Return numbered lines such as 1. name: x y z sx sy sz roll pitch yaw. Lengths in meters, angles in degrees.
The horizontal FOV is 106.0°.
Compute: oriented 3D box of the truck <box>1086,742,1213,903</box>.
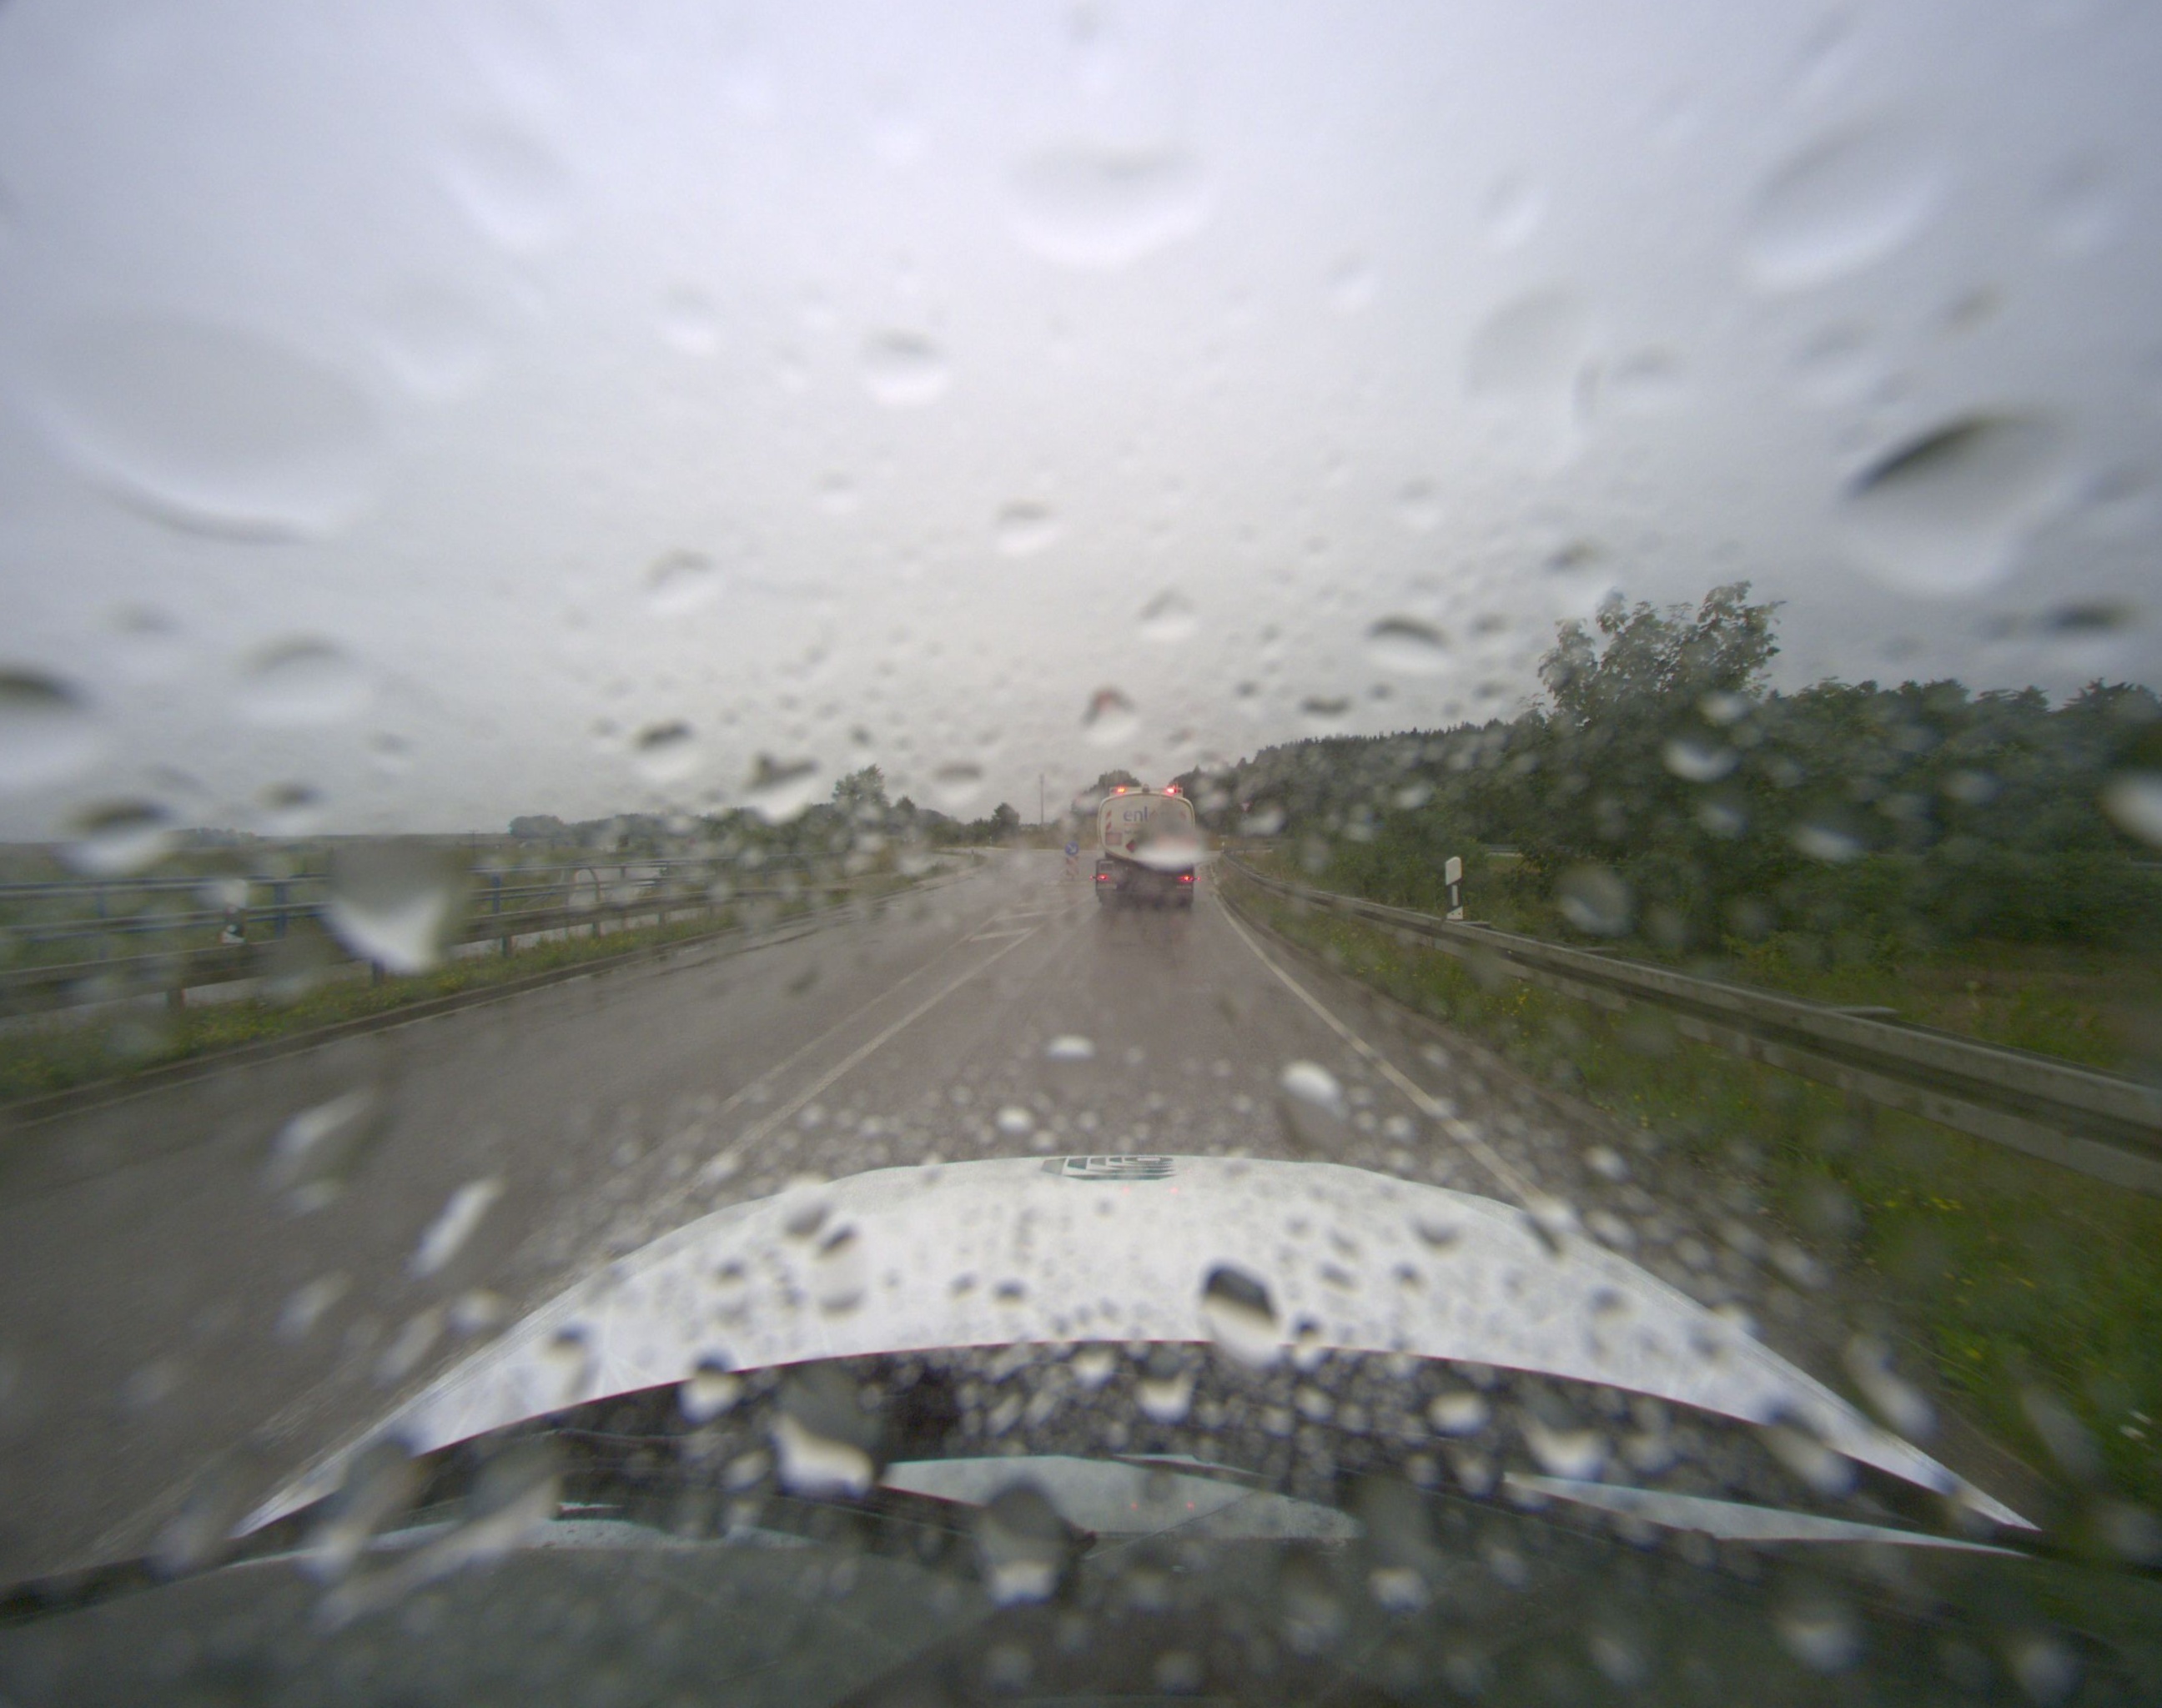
1. truck: 2.011 -0.860 24.070 3.025 3.851 8.835 -1 1 5
